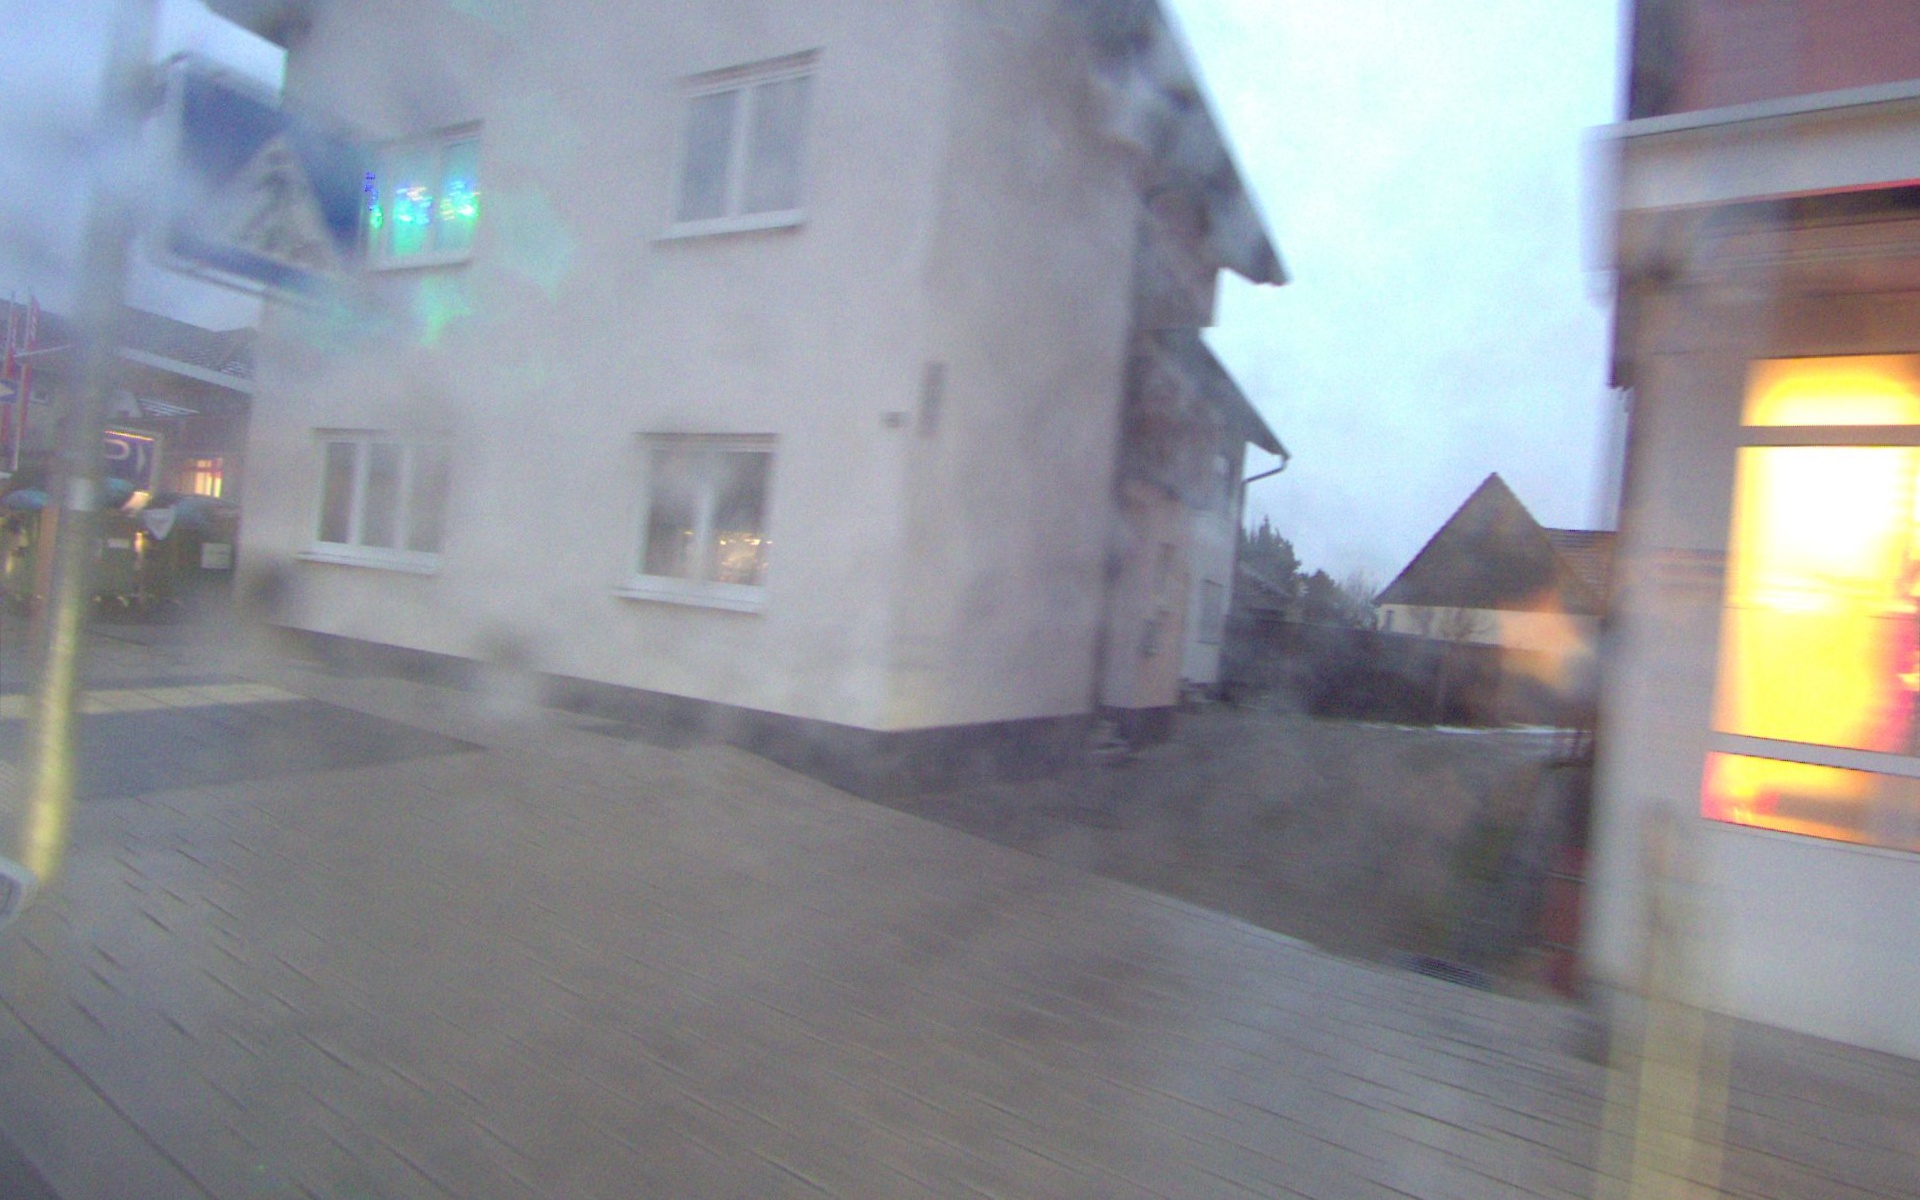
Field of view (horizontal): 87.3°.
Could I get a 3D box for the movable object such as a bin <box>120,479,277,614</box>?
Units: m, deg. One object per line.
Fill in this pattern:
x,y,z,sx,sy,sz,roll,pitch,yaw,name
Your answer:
-10.430,-0.716,13.806,1.165,1.666,1.286,7,2,30,movable object such as a bin

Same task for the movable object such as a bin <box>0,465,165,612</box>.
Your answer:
-11.179,-0.759,12.665,1.240,1.665,1.394,7,2,30,movable object such as a bin

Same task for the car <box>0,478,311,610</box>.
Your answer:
-12.487,-0.805,15.231,1.883,1.504,3.988,5,-1,35,car

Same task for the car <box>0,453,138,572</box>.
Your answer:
-18.965,-1.818,19.703,1.972,2.076,4.084,7,1,40,car
